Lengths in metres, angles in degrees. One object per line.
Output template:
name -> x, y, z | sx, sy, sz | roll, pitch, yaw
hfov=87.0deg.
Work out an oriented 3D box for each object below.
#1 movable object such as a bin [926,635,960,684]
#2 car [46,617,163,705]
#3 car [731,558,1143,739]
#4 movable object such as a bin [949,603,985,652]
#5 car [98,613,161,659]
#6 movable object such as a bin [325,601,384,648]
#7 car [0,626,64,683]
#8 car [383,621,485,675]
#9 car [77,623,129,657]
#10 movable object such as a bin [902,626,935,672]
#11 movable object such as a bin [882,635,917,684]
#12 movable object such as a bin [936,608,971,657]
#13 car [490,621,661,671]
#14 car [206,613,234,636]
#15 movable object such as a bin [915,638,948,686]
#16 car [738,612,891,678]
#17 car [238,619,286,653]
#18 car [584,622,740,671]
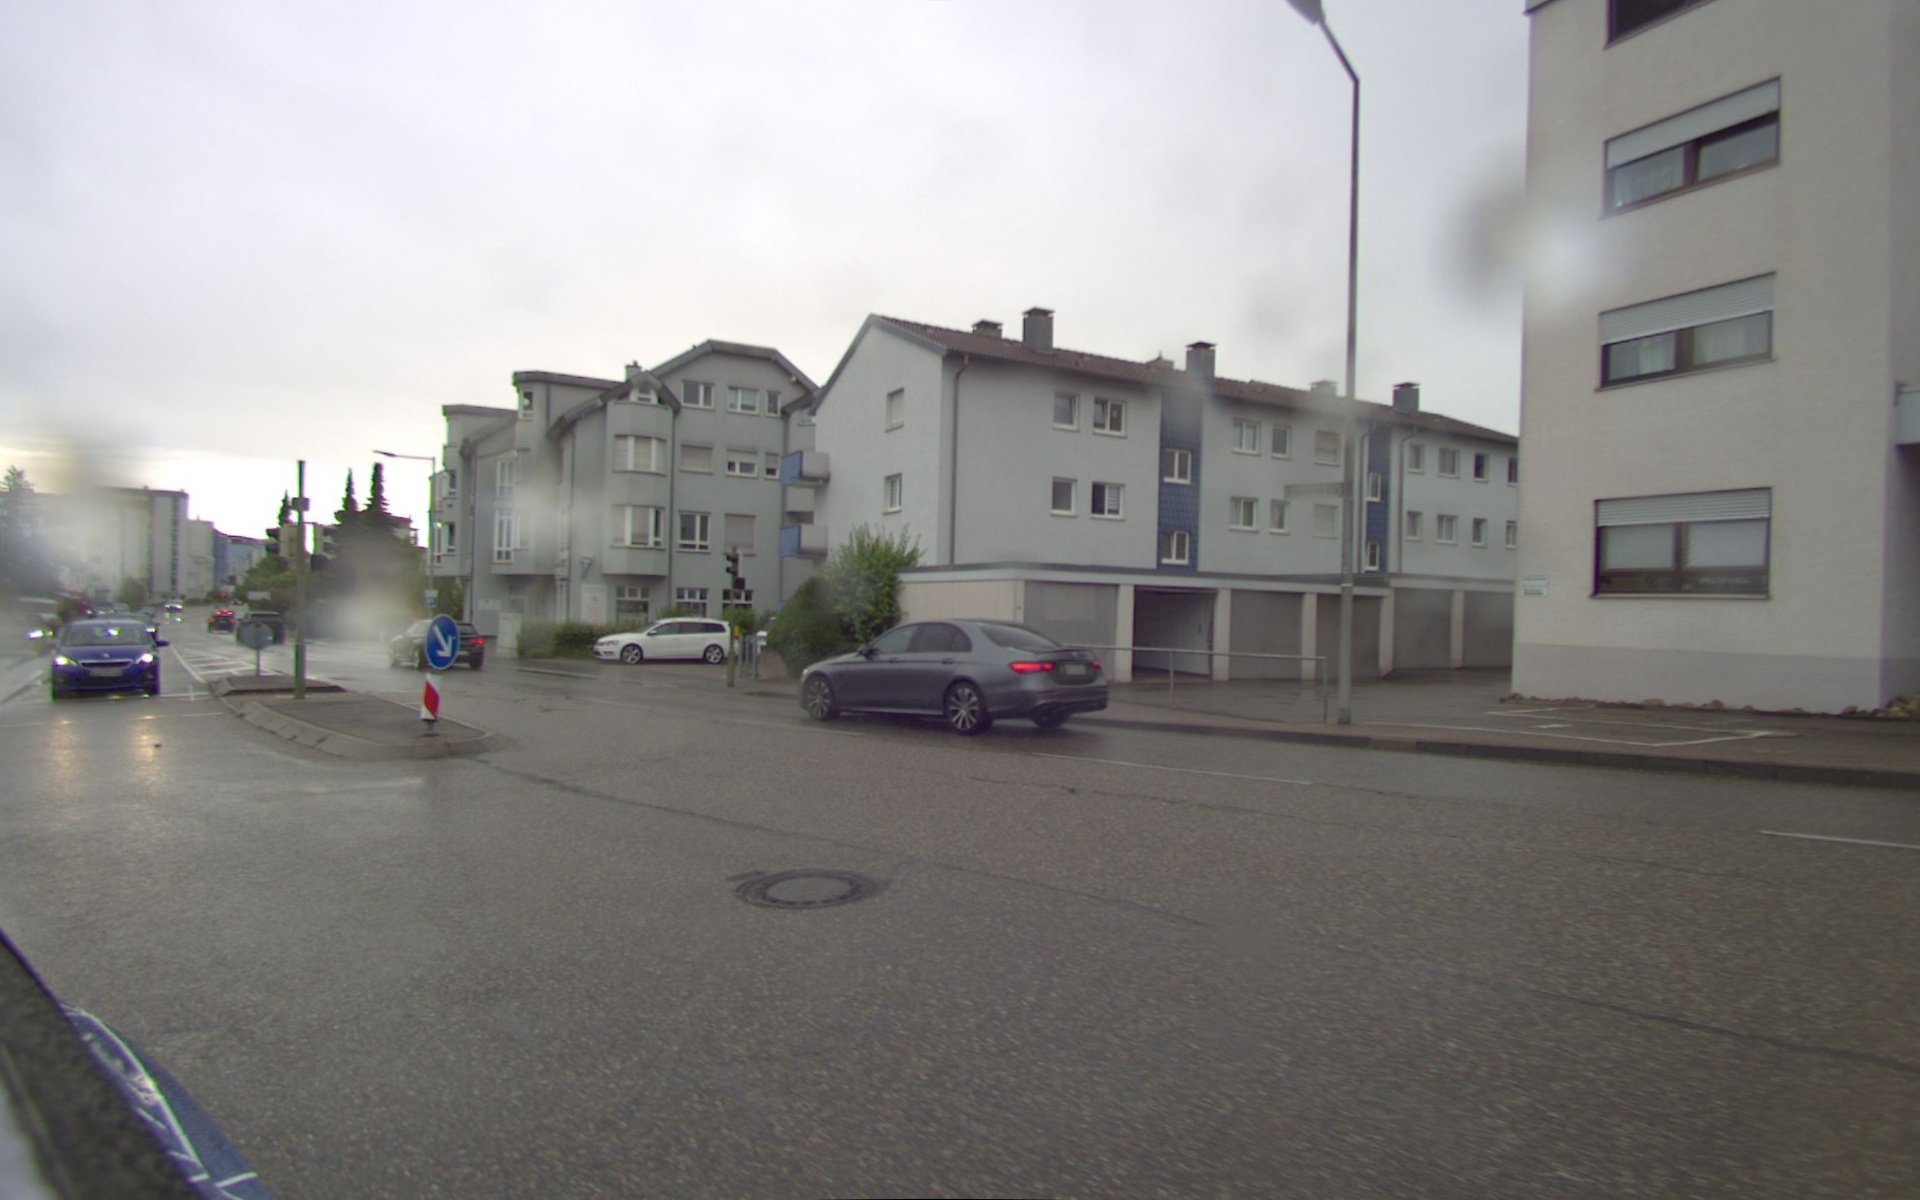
movable object such as a bin -> -0.360, 1.260, 21.458 | 0.492, 0.968, 0.536 | -4, 2, -29
car -> -16.793, 1.119, 19.896 | 1.627, 1.568, 3.356 | 1, -2, -40
car -> -0.569, 0.645, 14.138 | 5.979, 2.029, 2.067 | -1, -4, 43
movable object such as a bin -> 0.144, 0.554, 20.440 | 0.492, 0.968, 0.603 | 1, -2, -29
car -> -38.195, 1.623, 46.629 | 1.967, 2.029, 4.009 | 1, -2, -36
movable object such as a bin -> -37.479, 1.499, 62.740 | 2.877, 2.863, 2.204 | 1, -2, -24
car -> -33.489, 1.896, 35.953 | 3.999, 1.874, 1.972 | 0, -3, 42
car -> -15.696, 1.380, 30.104 | 1.766, 1.483, 4.170 | 1, -2, -41
car -> -49.684, 2.287, 58.753 | 1.967, 1.874, 4.009 | 3, -3, -37
movable object such as a bin -> -0.923, 1.082, 22.445 | 0.492, 0.968, 0.536 | -4, 2, -29
movable object such as a bin -> -1.372, 1.341, 22.985 | 0.492, 1.026, 0.690 | -4, 2, -29
movable object such as a bin -> -0.141, 0.670, 20.948 | 0.492, 0.968, 0.536 | -4, 2, -29
car -> -13.846, 1.597, 36.617 | 5.393, 1.697, 2.151 | 1, -2, -40
car -> -65.987, 2.173, 90.185 | 1.967, 2.029, 4.009 | 1, -2, -37
movable object such as a bin -> -0.619, 1.344, 21.922 | 0.492, 0.968, 0.536 | -4, 2, -29
car -> -4.137, 1.248, 28.928 | 3.932, 1.763, 1.834 | 1, -2, -33
car -> -39.654, 2.012, 57.437 | 2.069, 1.847, 4.743 | 1, -1, -37
car -> -9.810, 1.485, 33.429 | 4.549, 1.508, 1.935 | 1, -2, -33
